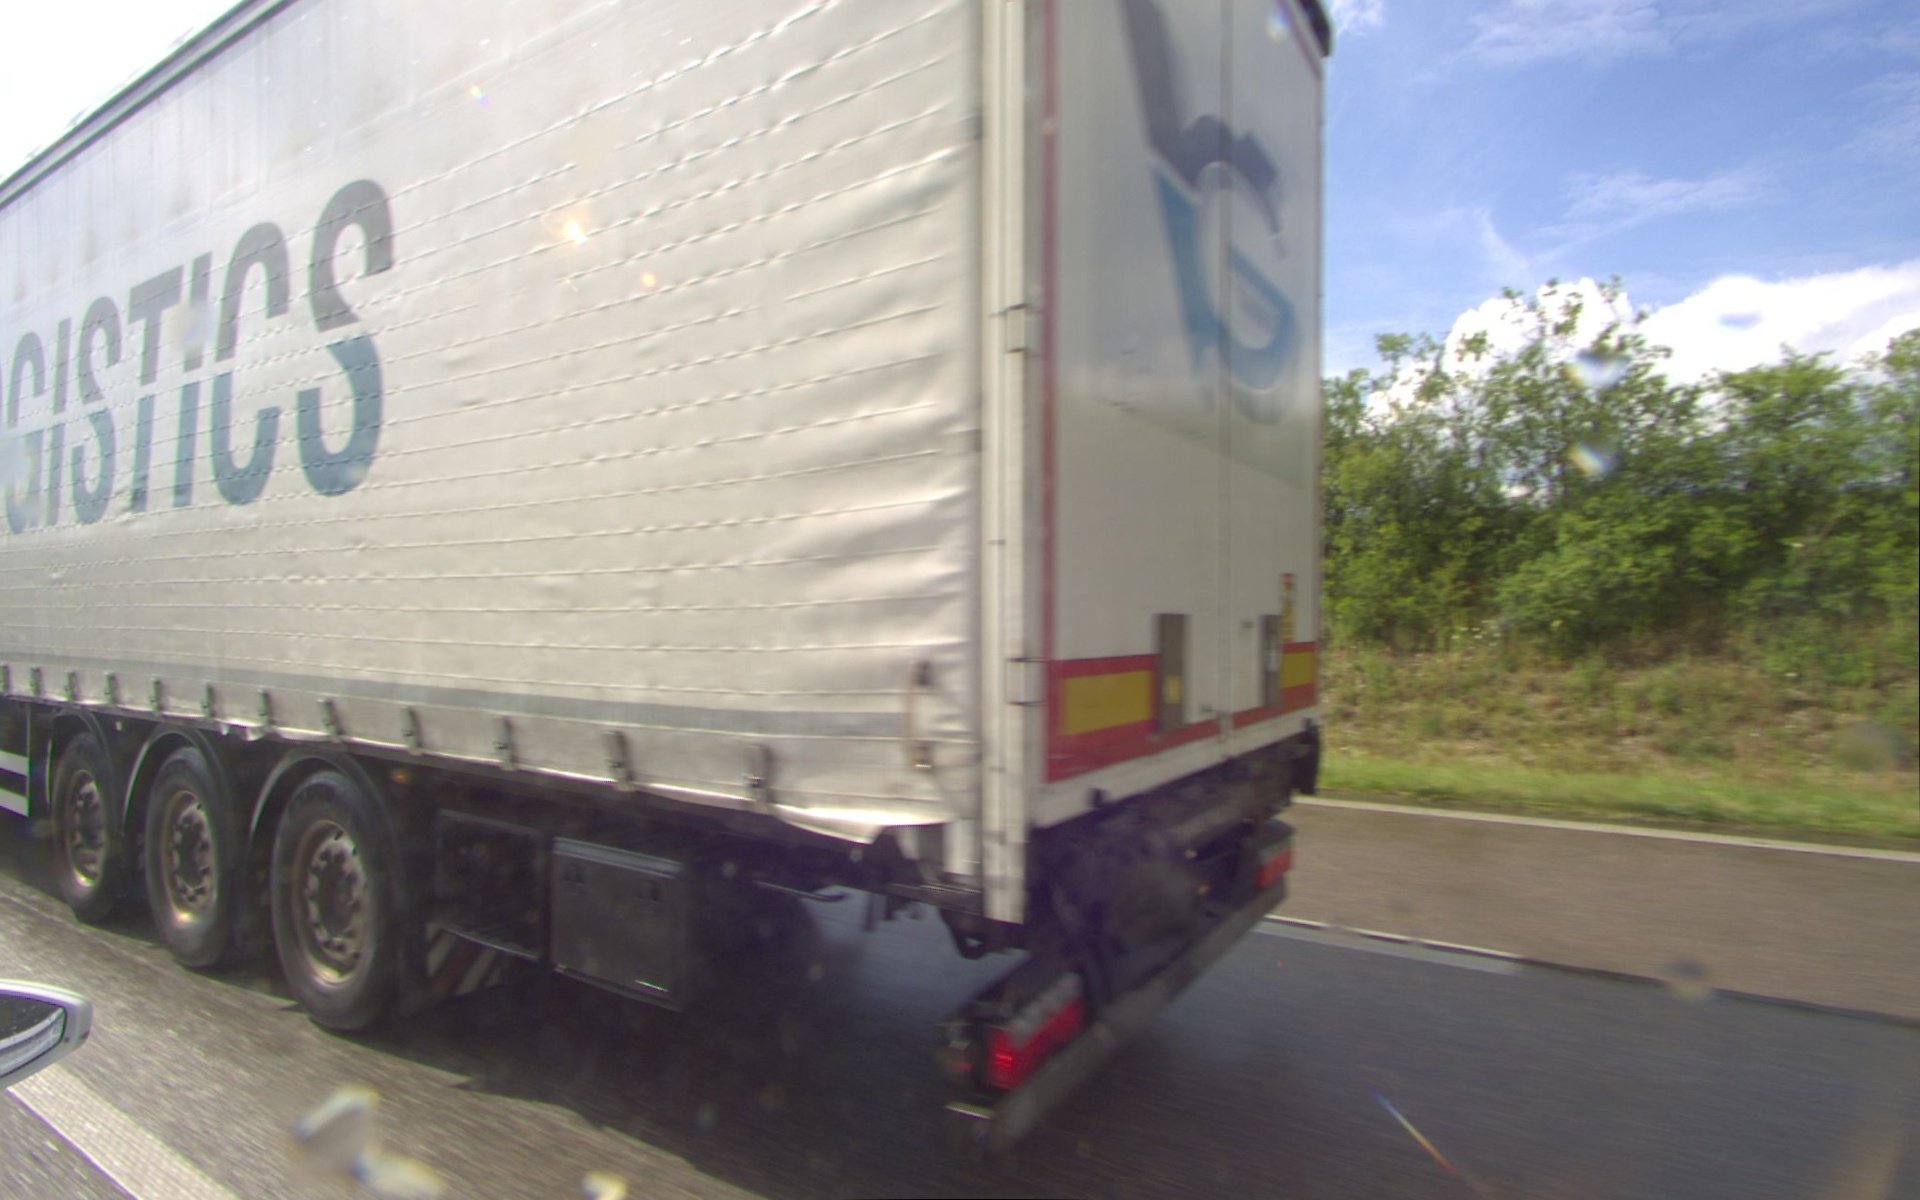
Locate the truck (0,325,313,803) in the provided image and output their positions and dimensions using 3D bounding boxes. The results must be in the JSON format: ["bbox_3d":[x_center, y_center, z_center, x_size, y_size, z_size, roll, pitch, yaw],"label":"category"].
[{"bbox_3d":[-10.158,-0.224,10.589,6.306,3.940,3.278,-1,-2,33],"label":"truck"}]

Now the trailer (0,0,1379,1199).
[{"bbox_3d":[-4.796,-0.336,7.004,13.932,3.948,3.277,-1,-2,34],"label":"trailer"}]
